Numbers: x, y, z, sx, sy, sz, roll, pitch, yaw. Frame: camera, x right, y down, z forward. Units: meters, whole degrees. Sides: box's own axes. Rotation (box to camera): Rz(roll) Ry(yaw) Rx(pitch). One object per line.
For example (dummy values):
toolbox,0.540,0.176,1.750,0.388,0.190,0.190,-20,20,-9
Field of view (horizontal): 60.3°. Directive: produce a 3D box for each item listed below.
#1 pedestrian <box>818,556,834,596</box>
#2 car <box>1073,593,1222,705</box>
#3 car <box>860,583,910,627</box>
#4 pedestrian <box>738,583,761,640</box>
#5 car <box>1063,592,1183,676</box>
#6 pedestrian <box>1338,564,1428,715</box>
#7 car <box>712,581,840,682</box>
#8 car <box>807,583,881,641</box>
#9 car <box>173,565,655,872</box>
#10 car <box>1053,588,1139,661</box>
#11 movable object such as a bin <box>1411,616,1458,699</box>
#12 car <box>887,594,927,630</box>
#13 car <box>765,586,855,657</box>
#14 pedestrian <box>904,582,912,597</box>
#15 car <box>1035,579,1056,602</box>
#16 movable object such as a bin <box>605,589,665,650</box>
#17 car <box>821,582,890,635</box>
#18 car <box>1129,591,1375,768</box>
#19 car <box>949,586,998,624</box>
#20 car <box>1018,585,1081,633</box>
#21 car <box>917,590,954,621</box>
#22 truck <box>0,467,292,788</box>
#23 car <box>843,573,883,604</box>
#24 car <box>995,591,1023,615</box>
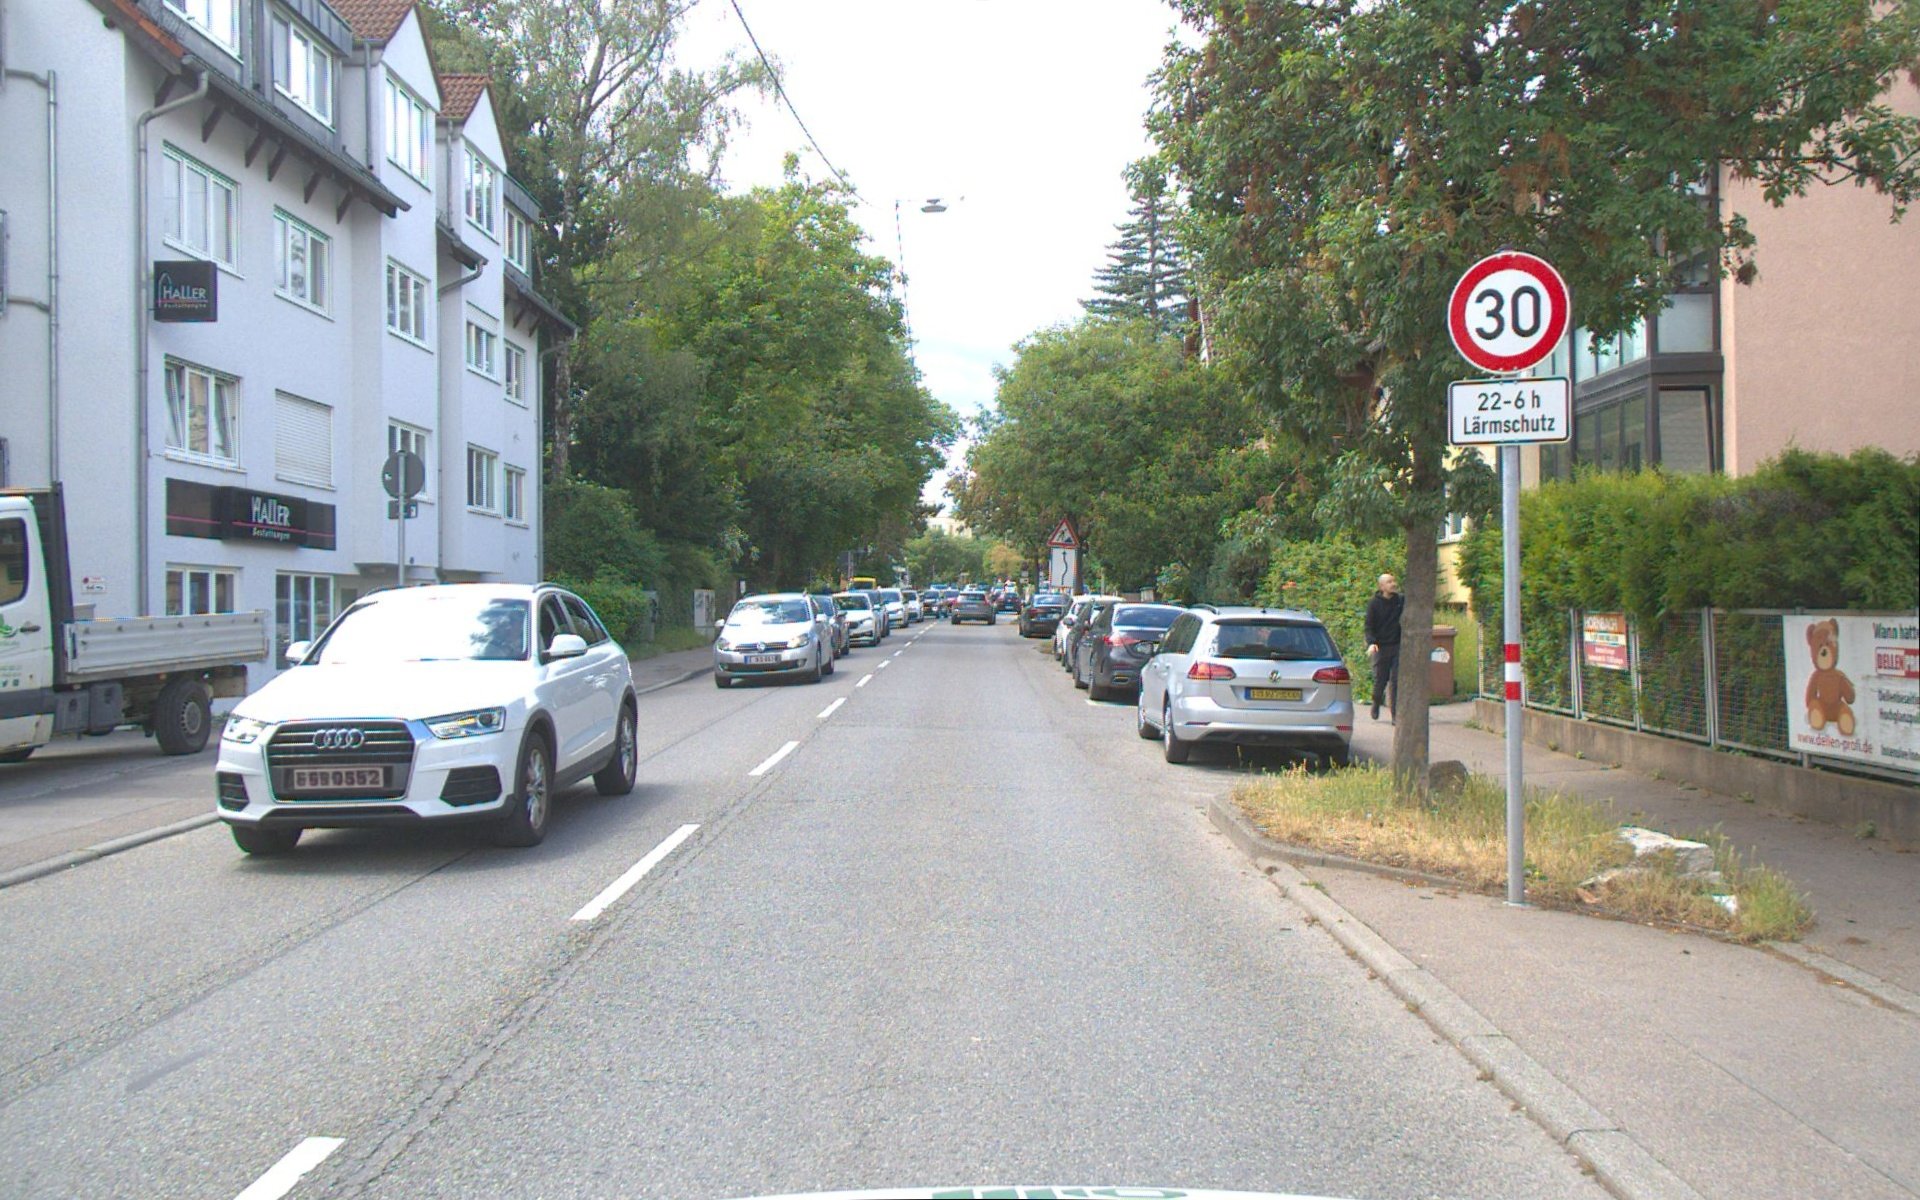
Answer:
pedestrian,-6.021,-1.069,74.307,0.700,1.793,1.121,0,-1,-5
car,2.772,0.670,25.387,1.699,1.453,4.883,3,0,0
car,-3.025,0.177,67.576,1.749,1.676,4.491,-2,0,1
pedestrian,-6.327,0.350,49.797,0.640,1.696,0.931,0,-1,-5
car,2.998,0.590,31.294,1.952,1.448,4.589,0,0,2
pedestrian,4.983,0.462,19.524,0.862,1.742,0.842,0,-1,1
car,-3.089,0.487,28.550,1.693,1.529,4.375,-2,0,-1
car,-3.162,0.299,45.804,1.724,1.464,3.970,-2,1,0
car,-3.338,0.641,11.028,1.769,1.598,4.159,-2,0,0
car,2.970,0.502,36.695,1.588,1.534,3.779,0,0,0
movable object such as a bin,6.357,0.759,22.178,0.512,1.099,0.604,0,-1,6
car,-2.544,0.547,80.364,1.748,1.619,4.154,-2,0,1
car,-3.460,0.481,38.708,1.674,1.481,4.286,-3,0,0
pedestrian,-5.147,-1.081,164.239,0.690,1.465,0.714,0,-1,4
car,8.026,-0.891,155.463,1.952,2.049,4.001,0,-1,2
movable object such as a bin,-7.914,0.473,40.299,1.304,1.452,1.212,0,-1,-6
car,-3.372,0.242,54.065,1.888,1.573,4.086,-3,0,0
car,2.806,0.688,16.943,1.666,1.506,4.872,1,0,0
car,0.649,0.189,73.957,1.935,1.539,4.268,3,0,3
car,2.958,0.282,55.559,1.765,1.470,4.886,2,0,-1
car,-1.298,0.279,89.907,1.752,1.569,4.265,-2,0,2
truck,-8.237,0.221,14.147,2.178,2.421,6.328,0,-1,3
car,-6.454,-0.734,110.360,2.101,2.015,4.932,0,-1,3
car,3.205,0.162,108.665,1.778,1.527,4.268,1,0,2
